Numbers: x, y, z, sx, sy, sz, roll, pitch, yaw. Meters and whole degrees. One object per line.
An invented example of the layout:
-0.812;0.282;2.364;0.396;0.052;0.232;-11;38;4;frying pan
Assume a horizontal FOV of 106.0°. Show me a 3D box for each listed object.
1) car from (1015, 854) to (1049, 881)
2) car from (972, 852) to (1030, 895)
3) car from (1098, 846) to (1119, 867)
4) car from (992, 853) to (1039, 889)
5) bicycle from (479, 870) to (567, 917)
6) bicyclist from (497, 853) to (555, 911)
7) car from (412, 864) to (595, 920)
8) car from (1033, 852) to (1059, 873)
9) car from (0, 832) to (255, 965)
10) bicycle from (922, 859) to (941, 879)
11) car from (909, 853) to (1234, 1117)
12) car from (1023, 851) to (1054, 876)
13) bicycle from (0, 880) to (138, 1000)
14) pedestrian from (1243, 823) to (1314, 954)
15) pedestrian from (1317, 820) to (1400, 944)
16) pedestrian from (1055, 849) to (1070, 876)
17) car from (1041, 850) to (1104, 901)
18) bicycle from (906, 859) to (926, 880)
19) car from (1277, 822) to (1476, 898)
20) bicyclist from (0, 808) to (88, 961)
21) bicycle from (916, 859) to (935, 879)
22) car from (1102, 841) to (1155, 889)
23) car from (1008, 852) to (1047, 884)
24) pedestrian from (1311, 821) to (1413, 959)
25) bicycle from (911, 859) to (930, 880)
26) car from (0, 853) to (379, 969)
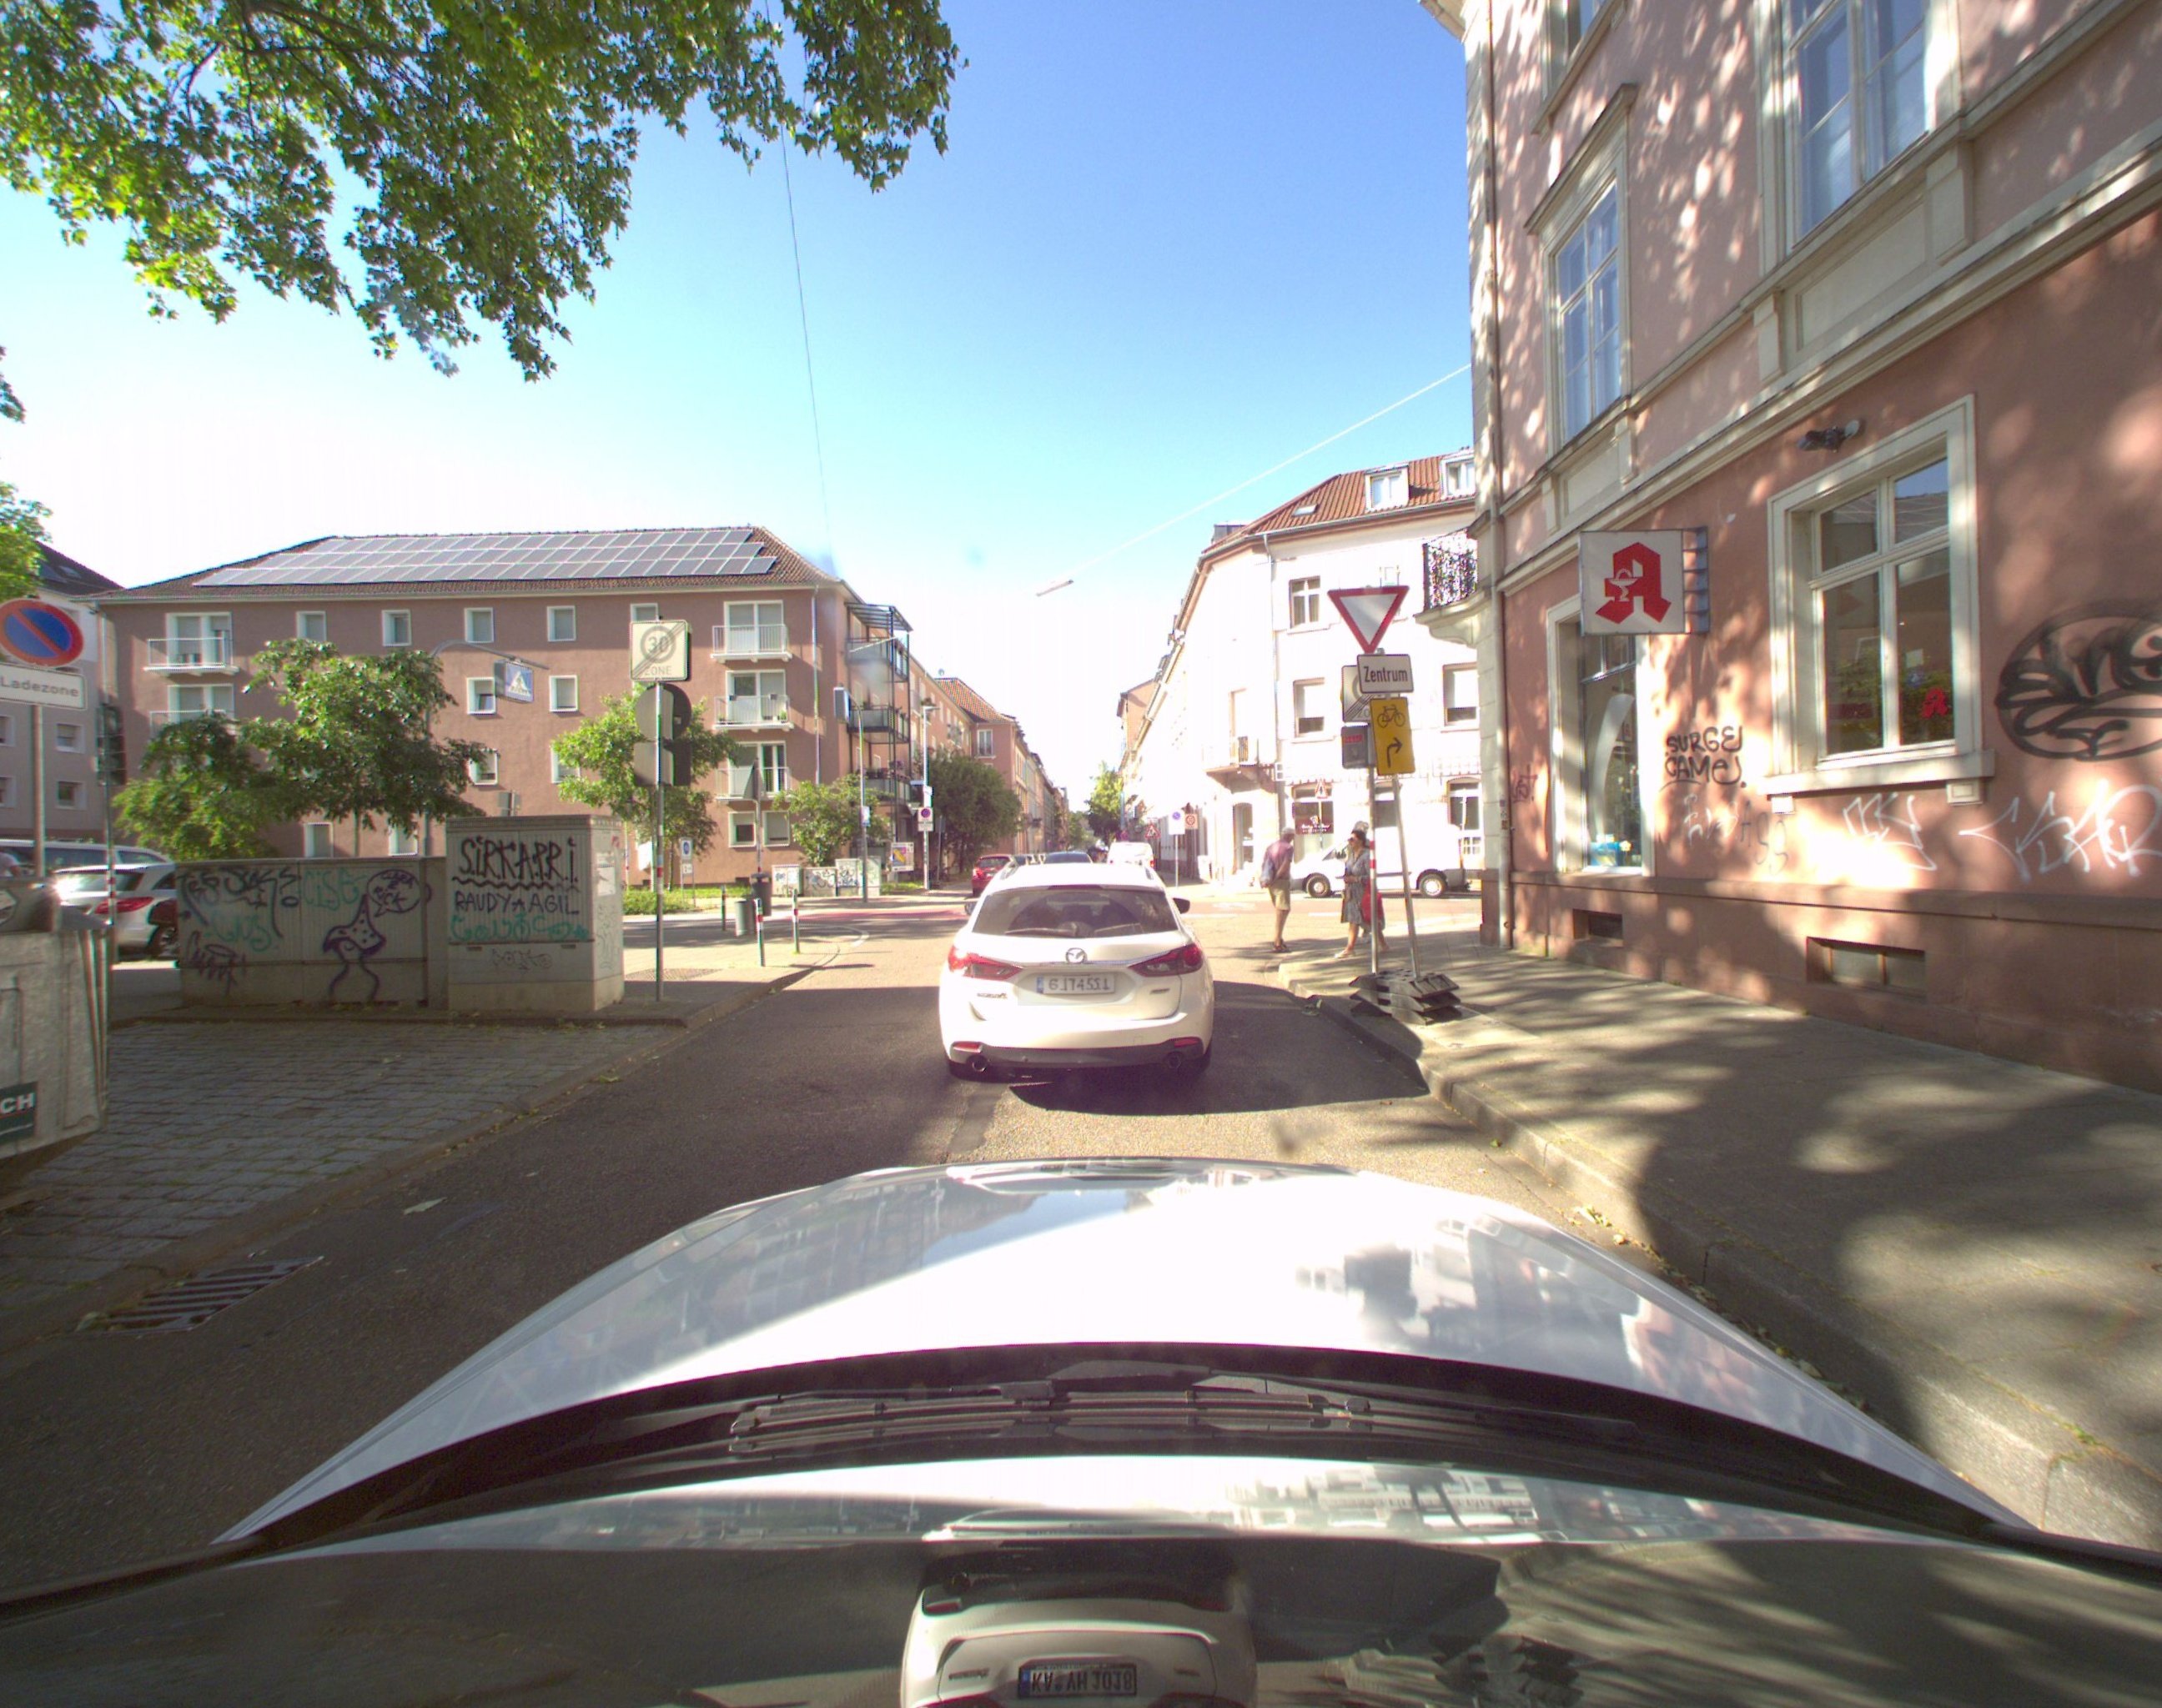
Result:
-2.905;0.765;48.939;1.647;1.500;3.764;-1;0;2;car
-2.964;0.682;31.006;1.678;1.500;3.808;-1;0;2;car
2.550;0.215;75.823;1.887;1.859;3.996;-1;0;2;car
-2.915;0.715;37.093;1.647;1.500;4.081;-1;0;2;car
-15.258;1.072;22.286;1.940;1.198;0.630;-2;0;1;bicycle
-15.149;0.758;22.242;1.038;1.519;0.739;-2;0;1;bicyclist
-17.027;1.099;24.156;4.128;1.454;1.746;-2;0;0;car
-2.704;0.631;63.465;1.647;1.500;3.764;-1;0;2;car
-17.372;0.736;13.795;1.947;2.006;4.742;-2;-1;-1;car
-7.869;0.792;42.885;1.204;1.071;0.255;-1;0;40;bicycle
0.003;0.750;6.646;1.824;1.457;3.964;-2;0;2;car
-2.737;0.602;53.244;1.647;1.500;3.764;-1;0;2;car
-11.349;0.882;8.694;0.803;1.153;1.710;0;0;-13;bicycle
2.817;0.475;11.672;0.747;1.764;0.831;-3;0;1;pedestrian
3.994;0.409;11.778;0.833;1.667;0.626;-6;-3;1;pedestrian
-1.186;0.533;51.594;0.733;1.614;0.813;-2;0;-11;pedestrian
-0.183;0.594;25.366;1.754;1.410;4.329;-1;0;2;car
-8.560;0.794;42.204;1.201;1.072;0.268;-1;0;40;bicycle
8.181;0.192;22.693;4.964;1.946;2.062;-1;0;23;car
-11.369;0.323;8.711;0.704;1.584;0.531;-3;1;-14;bicyclist
-8.145;0.789;42.730;1.201;1.071;0.255;-1;0;40;bicycle
1.934;0.434;34.639;1.889;1.859;5.012;1;0;-1;car
-2.729;0.696;42.187;1.647;1.500;3.764;-1;0;2;car
3.520;0.441;10.285;0.841;1.573;0.846;-7;-1;1;pedestrian
-8.352;0.797;42.480;1.201;1.071;0.255;-1;0;40;bicycle
-14.803;0.819;13.969;1.747;1.612;4.303;-2;0;0;car
